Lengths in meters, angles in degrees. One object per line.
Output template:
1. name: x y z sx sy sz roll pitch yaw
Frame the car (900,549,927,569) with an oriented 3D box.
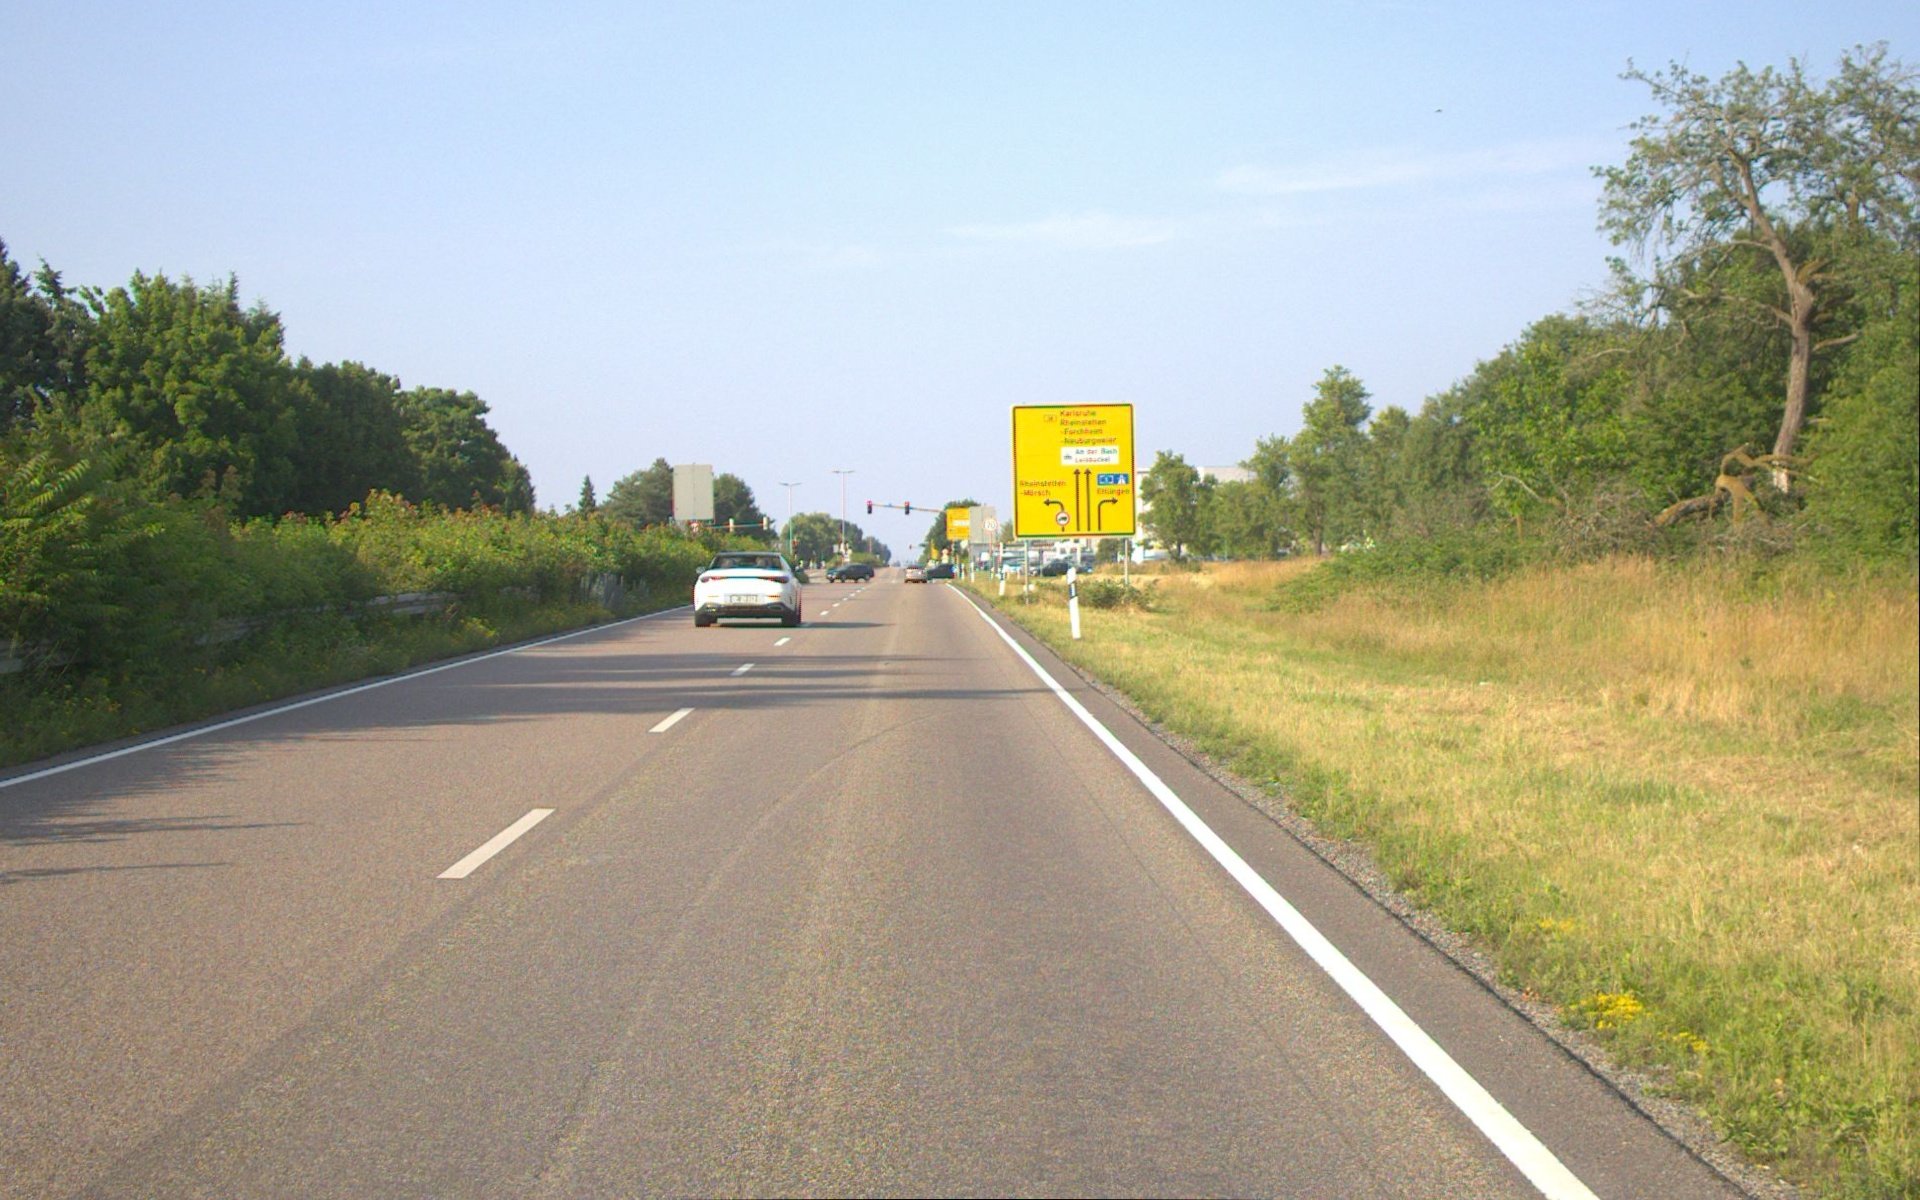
1. car: -3.529 -3.070 259.708 1.993 1.481 4.000 0 1 -1

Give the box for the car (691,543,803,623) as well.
1. car: -3.898 -0.334 63.546 1.909 1.417 4.000 0 1 -1
